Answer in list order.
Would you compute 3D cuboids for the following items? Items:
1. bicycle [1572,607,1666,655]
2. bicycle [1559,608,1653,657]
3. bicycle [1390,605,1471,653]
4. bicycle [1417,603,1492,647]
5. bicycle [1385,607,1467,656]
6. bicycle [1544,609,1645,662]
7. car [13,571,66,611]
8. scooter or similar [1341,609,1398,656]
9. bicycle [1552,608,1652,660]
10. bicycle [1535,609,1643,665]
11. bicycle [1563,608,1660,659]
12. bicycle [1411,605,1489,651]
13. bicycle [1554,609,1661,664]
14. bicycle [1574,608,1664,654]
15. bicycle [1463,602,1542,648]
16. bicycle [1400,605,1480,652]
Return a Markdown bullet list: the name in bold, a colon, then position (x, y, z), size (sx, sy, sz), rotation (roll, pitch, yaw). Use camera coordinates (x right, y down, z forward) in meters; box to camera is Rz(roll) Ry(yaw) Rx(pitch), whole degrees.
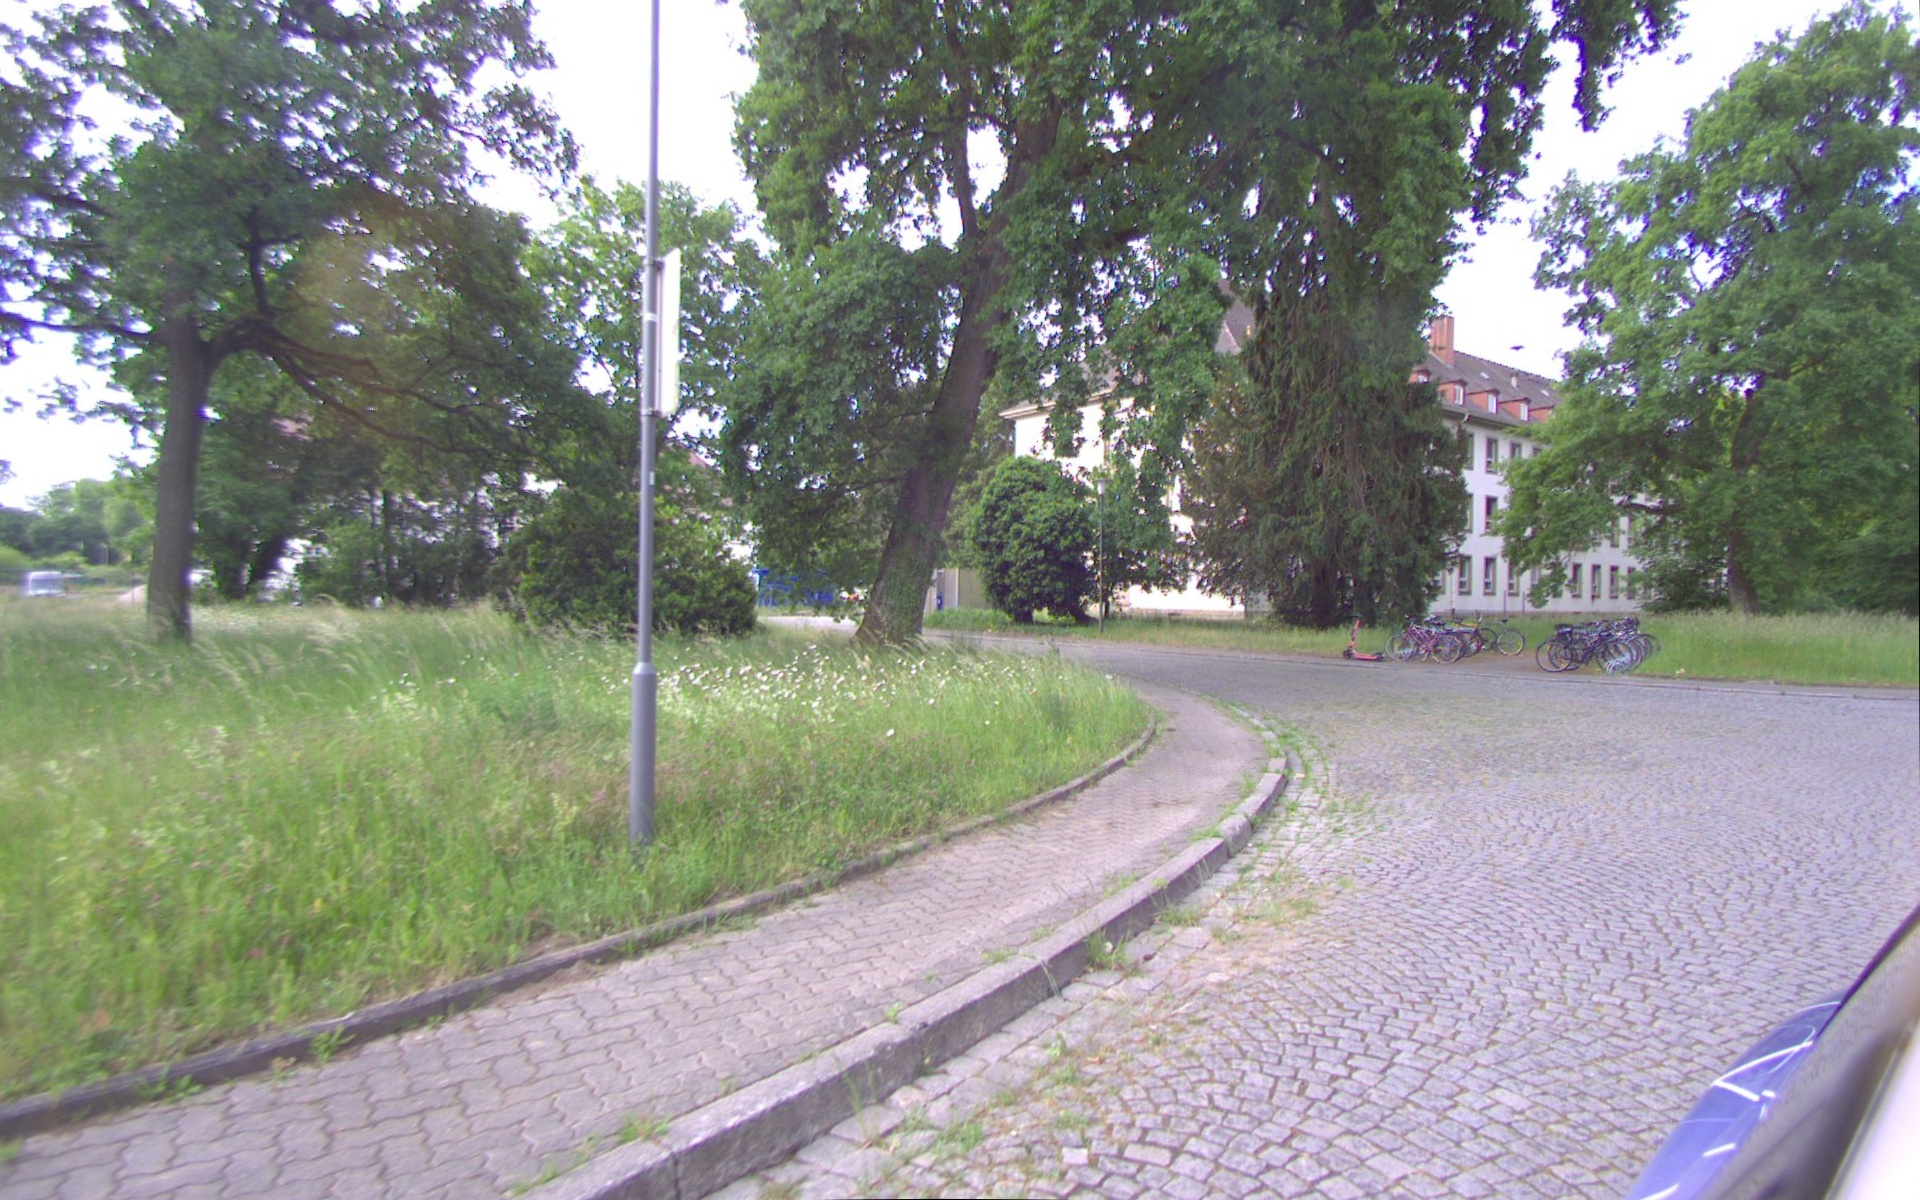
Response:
- **bicycle**: position (16.541, 0.773, 25.455), size (1.925, 1.185, 0.482), rotation (-1, -1, 33)
- **bicycle**: position (16.017, 0.806, 25.154), size (1.925, 1.185, 0.482), rotation (-1, -1, 33)
- **bicycle**: position (12.003, 0.724, 25.847), size (1.843, 1.185, 0.483), rotation (0, -1, 29)
- **bicycle**: position (13.770, 0.690, 28.222), size (1.840, 1.185, 0.484), rotation (0, -1, 26)
- **bicycle**: position (11.672, 0.783, 25.352), size (1.843, 1.185, 0.483), rotation (0, -1, 29)
- **bicycle**: position (14.595, 0.803, 23.349), size (1.922, 1.185, 0.483), rotation (-1, -1, 30)
- **car**: position (-63.981, -0.566, 70.310), size (5.659, 2.675, 2.243), rotation (-1, -1, 42)
- **scooter or similar**: position (10.423, 0.814, 25.785), size (0.406, 1.185, 1.308), rotation (0, -1, -37)
- **bicycle**: position (15.044, 0.802, 23.757), size (1.922, 1.185, 0.483), rotation (-1, -1, 30)
- **bicycle**: position (13.636, 0.800, 21.997), size (1.920, 1.185, 0.483), rotation (-1, -1, 27)
- **bicycle**: position (15.602, 0.802, 24.291), size (1.925, 1.185, 0.482), rotation (-1, -1, 33)
- **bicycle**: position (13.013, 0.725, 26.931), size (1.840, 1.185, 0.484), rotation (0, -1, 26)
- **bicycle**: position (14.236, 0.797, 22.301), size (1.920, 1.185, 0.483), rotation (-1, -1, 27)
- **bicycle**: position (17.263, 0.807, 26.536), size (1.929, 1.185, 0.530), rotation (-1, -1, 39)
- **bicycle**: position (15.115, 0.679, 28.245), size (0.480, 1.184, 1.855), rotation (1, 1, -45)
- **bicycle**: position (12.492, 0.724, 26.365), size (1.846, 1.185, 0.482), rotation (0, -1, 33)
